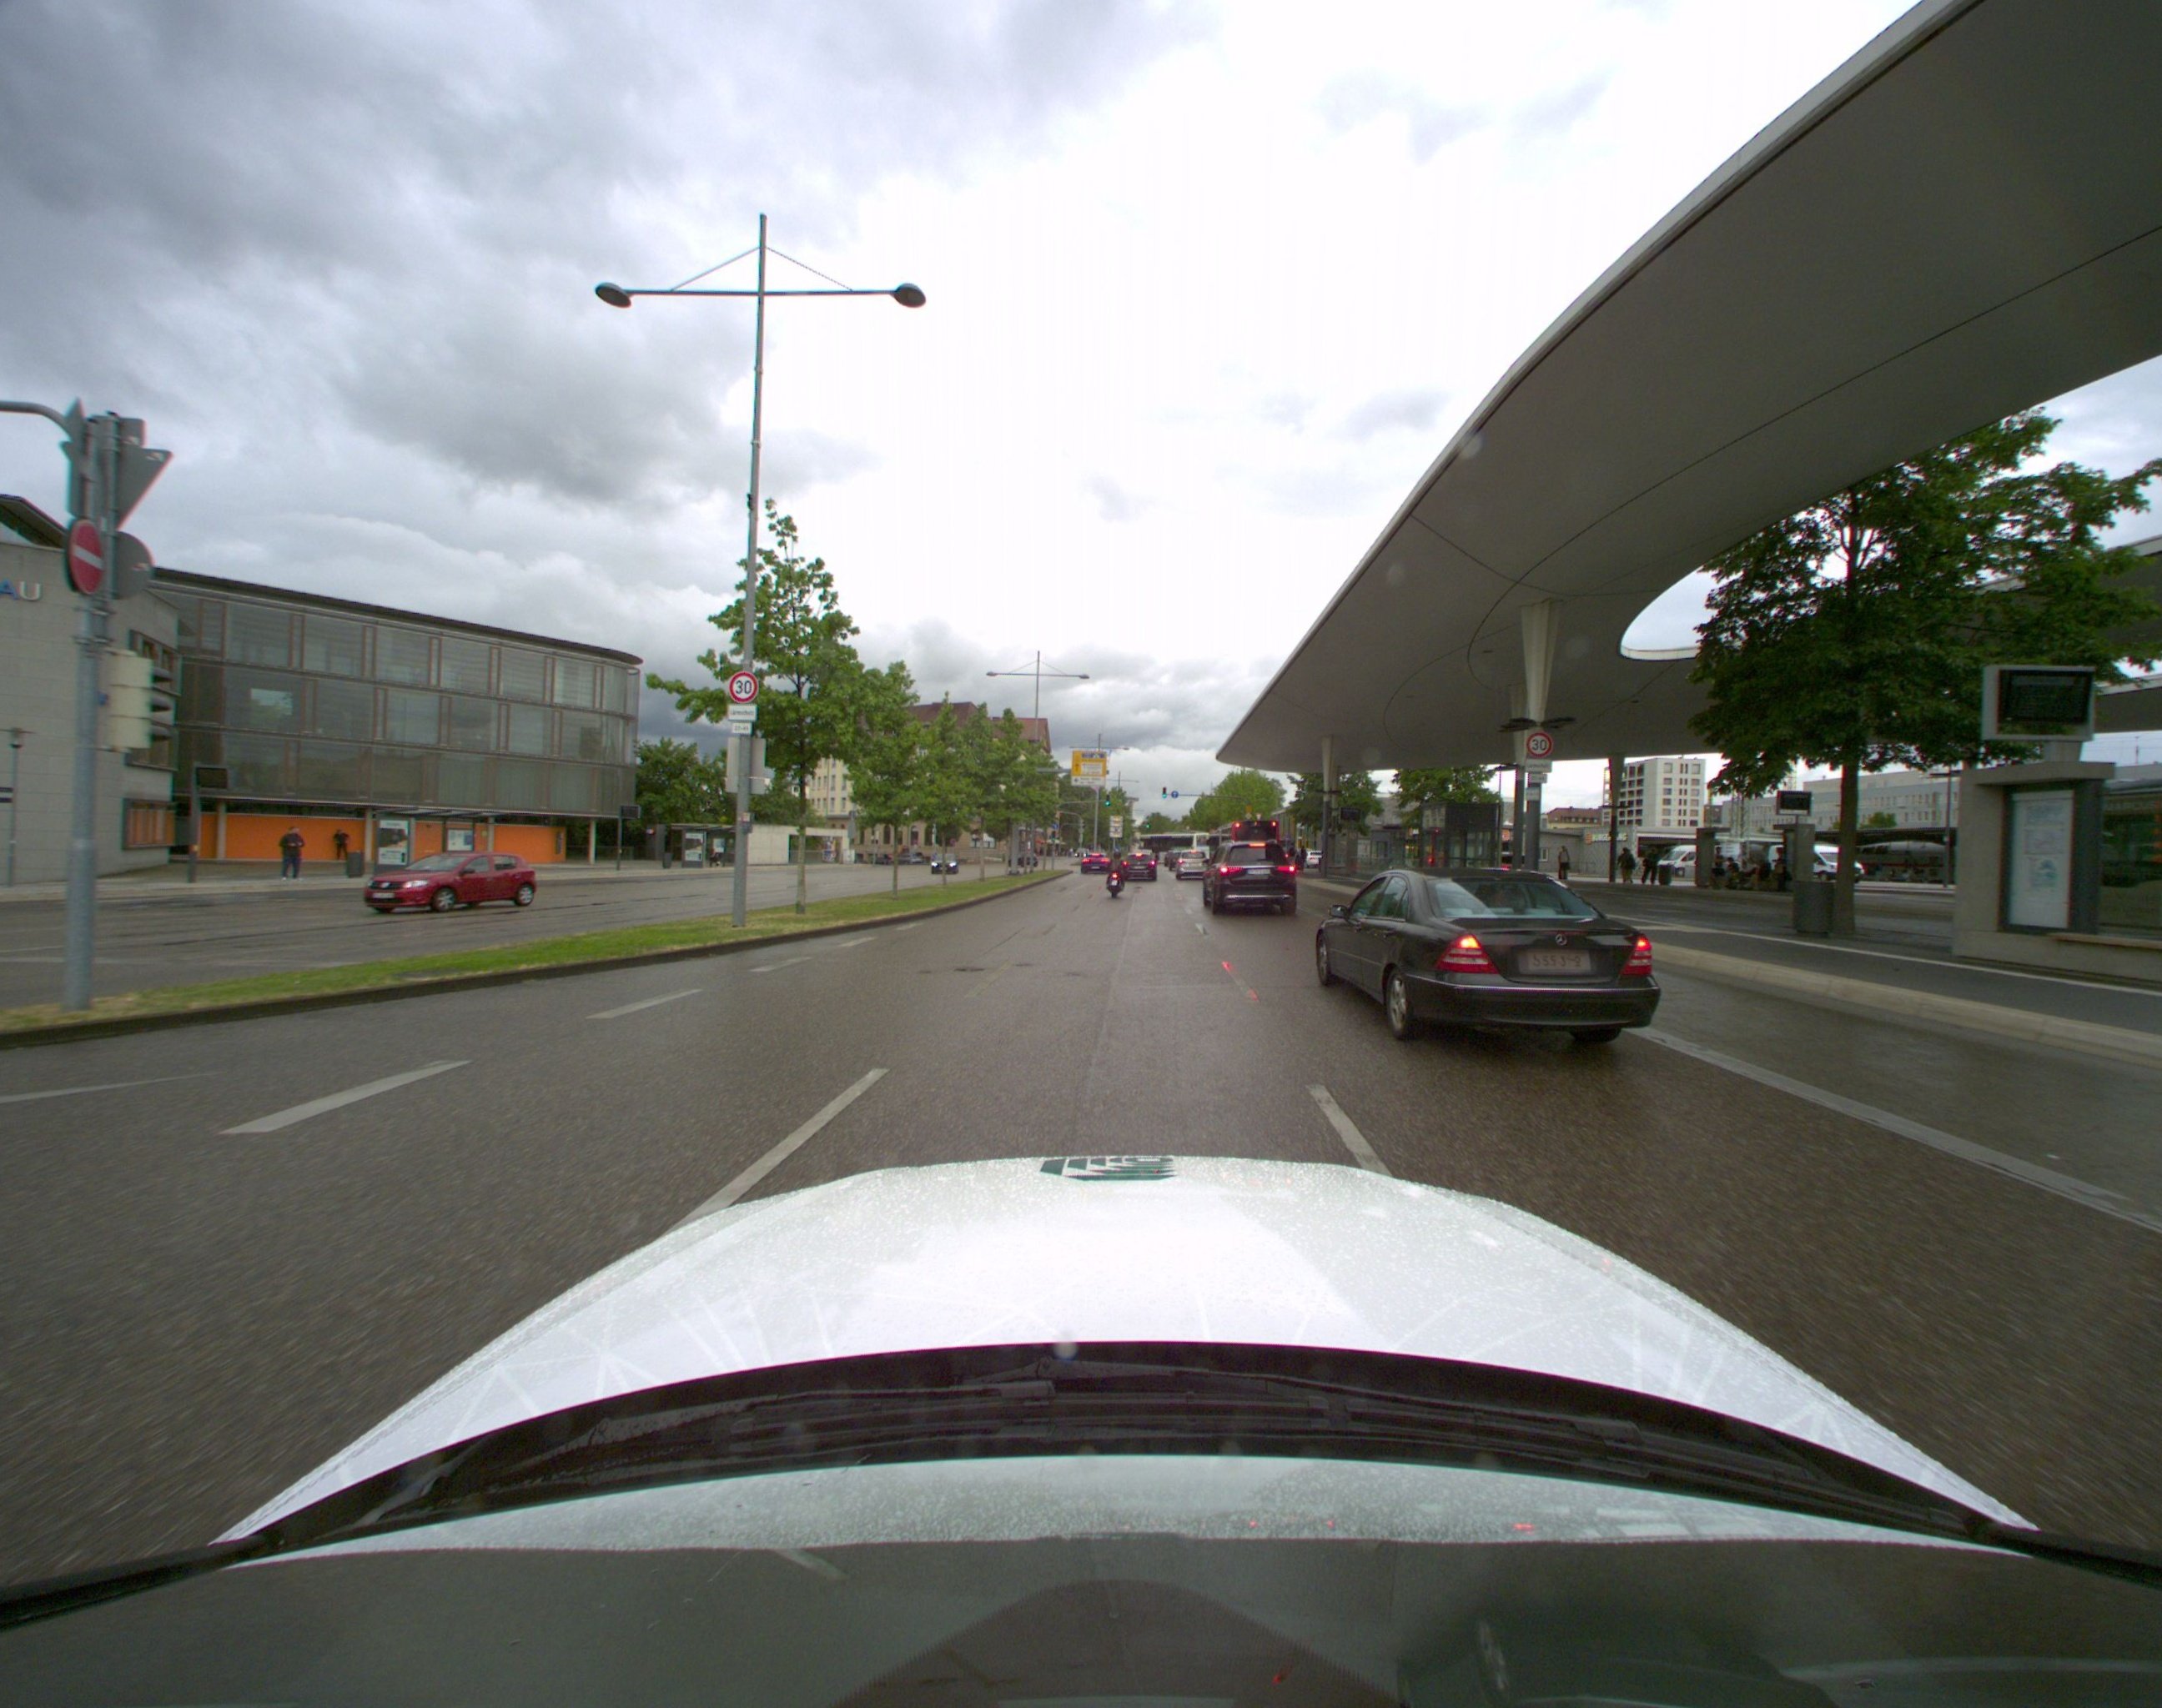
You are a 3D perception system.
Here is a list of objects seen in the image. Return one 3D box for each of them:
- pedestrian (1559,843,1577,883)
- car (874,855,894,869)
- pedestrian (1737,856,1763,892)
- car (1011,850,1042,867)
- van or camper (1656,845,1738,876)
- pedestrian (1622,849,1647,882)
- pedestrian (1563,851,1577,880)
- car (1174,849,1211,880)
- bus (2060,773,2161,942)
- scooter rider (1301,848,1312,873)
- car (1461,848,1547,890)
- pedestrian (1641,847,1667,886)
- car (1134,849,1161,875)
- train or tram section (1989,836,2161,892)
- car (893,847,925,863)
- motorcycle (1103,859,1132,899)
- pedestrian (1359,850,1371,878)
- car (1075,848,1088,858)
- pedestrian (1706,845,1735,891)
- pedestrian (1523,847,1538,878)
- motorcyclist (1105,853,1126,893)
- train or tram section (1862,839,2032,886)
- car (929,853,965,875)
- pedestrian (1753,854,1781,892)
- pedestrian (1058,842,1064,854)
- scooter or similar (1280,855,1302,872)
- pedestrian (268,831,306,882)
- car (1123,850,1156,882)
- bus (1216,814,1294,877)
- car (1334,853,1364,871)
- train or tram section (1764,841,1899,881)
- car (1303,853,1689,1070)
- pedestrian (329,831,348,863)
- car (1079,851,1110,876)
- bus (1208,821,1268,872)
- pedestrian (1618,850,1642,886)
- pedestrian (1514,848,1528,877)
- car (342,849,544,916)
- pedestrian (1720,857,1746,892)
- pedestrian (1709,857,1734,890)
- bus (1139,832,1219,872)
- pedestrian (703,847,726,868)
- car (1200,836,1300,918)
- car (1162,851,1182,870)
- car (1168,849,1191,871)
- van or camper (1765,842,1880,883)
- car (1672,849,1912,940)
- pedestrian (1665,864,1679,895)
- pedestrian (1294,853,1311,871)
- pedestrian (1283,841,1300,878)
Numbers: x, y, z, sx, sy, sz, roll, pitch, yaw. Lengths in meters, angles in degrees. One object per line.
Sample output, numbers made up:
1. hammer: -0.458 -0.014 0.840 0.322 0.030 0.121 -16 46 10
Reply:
1. pedestrian: 25.244 0.460 42.205 0.716 2.014 0.674 3 -4 31
2. car: -24.959 1.002 103.153 1.668 1.604 3.223 -3 1 -28
3. pedestrian: 26.755 0.799 32.578 0.558 1.444 0.614 1 -1 1
4. car: -5.270 0.404 78.452 1.844 1.627 3.677 1 0 -24
5. van or camper: 46.822 0.492 61.924 4.670 2.269 2.110 1 0 0
6. pedestrian: 27.033 0.573 39.792 0.582 1.578 0.766 6 -4 -27
7. pedestrian: 27.436 0.661 45.693 0.574 1.578 0.564 2 -4 39
8. car: 5.913 0.513 43.597 1.733 1.567 3.876 -1 0 4
9. bus: 20.421 0.072 10.140 2.709 3.043 12.104 0 0 4
10. scooter rider: 13.487 0.370 48.673 0.587 1.490 0.768 1 -1 18
11. car: 18.100 0.589 35.085 1.704 1.662 4.244 2 0 4
12. pedestrian: 25.879 0.559 36.771 0.704 1.707 0.771 -3 2 17
13. car: 4.138 0.471 50.512 1.568 1.567 3.876 -1 0 5
14. train or tram section: 75.732 0.713 60.900 3.118 3.680 11.629 5 1 4
15. car: -19.708 0.088 93.335 1.880 1.684 3.954 6 -3 -39
16. motorcycle: 1.254 0.834 27.849 0.788 1.262 1.859 -1 0 8
17. pedestrian: 17.134 0.620 49.078 0.569 1.678 0.586 0 -1 30
18. car: 0.137 -0.179 134.335 1.772 1.567 3.434 -1 0 4
19. pedestrian: 23.903 0.513 30.427 0.558 1.692 0.613 2 0 -2
20. pedestrian: 25.844 0.485 46.801 0.574 1.716 0.564 2 -4 39
21. motorcyclist: 1.192 0.648 27.843 0.638 1.347 0.690 0 0 8
22. train or tram section: 76.568 0.677 72.568 3.118 3.659 11.629 5 1 4
23. car: -9.705 0.720 59.251 1.674 1.528 4.642 0 0 2
24. pedestrian: 26.488 0.717 31.462 0.558 1.444 0.636 1 -1 1
25. pedestrian: -3.480 -1.055 140.558 0.727 1.965 0.820 0 0 -22
26. scooter or similar: 12.650 0.585 49.115 1.233 1.013 0.767 1 -1 18
27. pedestrian: -26.882 0.081 27.582 0.471 1.684 0.765 0 0 11
28. car: 3.071 0.586 42.176 1.568 1.504 3.877 -1 0 5
29. bus: 9.925 -0.465 47.730 3.270 3.292 10.894 0 0 5
30. car: 23.390 0.675 71.239 1.535 1.560 3.409 1 0 0
31. train or tram section: 77.412 0.666 84.525 3.118 3.659 12.337 5 1 4
32. car: 3.418 0.732 7.726 1.690 1.462 4.308 0 0 3
33. pedestrian: -39.534 -0.392 43.344 0.469 1.684 0.647 0 0 35
34. car: 0.943 0.603 54.271 1.808 1.570 4.409 -1 0 5
35. bus: 10.784 -0.492 56.792 3.275 3.289 8.862 0 0 5
36. pedestrian: 24.340 0.632 36.111 0.597 1.582 0.710 2 -2 -5
37. pedestrian: 25.124 0.499 46.539 0.574 1.578 0.564 2 -4 34
38. car: -16.347 0.664 21.168 1.813 1.552 4.039 0 0 6
39. pedestrian: 26.690 0.832 33.340 0.558 1.444 0.614 1 -1 1
40. pedestrian: 26.702 0.812 33.974 0.558 1.361 0.614 1 -1 1
41. bus: 10.310 -0.163 87.783 2.851 3.988 11.767 1 0 -24
42. pedestrian: -24.174 0.233 53.727 0.967 1.267 0.854 5 1 25
43. car: 4.295 0.519 21.376 1.948 1.876 4.880 -1 0 5
44. car: 8.128 0.576 72.919 1.568 1.567 3.801 -1 0 5
45. car: 7.343 0.408 60.849 1.568 1.567 3.876 -1 0 5
46. van or camper: 49.038 0.542 54.081 2.085 2.508 6.217 1 0 1
47. car: 12.757 0.648 14.887 1.640 1.453 3.240 1 0 3
48. pedestrian: 27.365 1.169 37.719 0.469 1.391 0.564 2 -4 39
49. pedestrian: 13.226 0.482 48.676 0.906 0.985 0.636 2 -4 18
50. pedestrian: 11.762 0.309 45.570 0.771 2.013 0.785 4 1 17
